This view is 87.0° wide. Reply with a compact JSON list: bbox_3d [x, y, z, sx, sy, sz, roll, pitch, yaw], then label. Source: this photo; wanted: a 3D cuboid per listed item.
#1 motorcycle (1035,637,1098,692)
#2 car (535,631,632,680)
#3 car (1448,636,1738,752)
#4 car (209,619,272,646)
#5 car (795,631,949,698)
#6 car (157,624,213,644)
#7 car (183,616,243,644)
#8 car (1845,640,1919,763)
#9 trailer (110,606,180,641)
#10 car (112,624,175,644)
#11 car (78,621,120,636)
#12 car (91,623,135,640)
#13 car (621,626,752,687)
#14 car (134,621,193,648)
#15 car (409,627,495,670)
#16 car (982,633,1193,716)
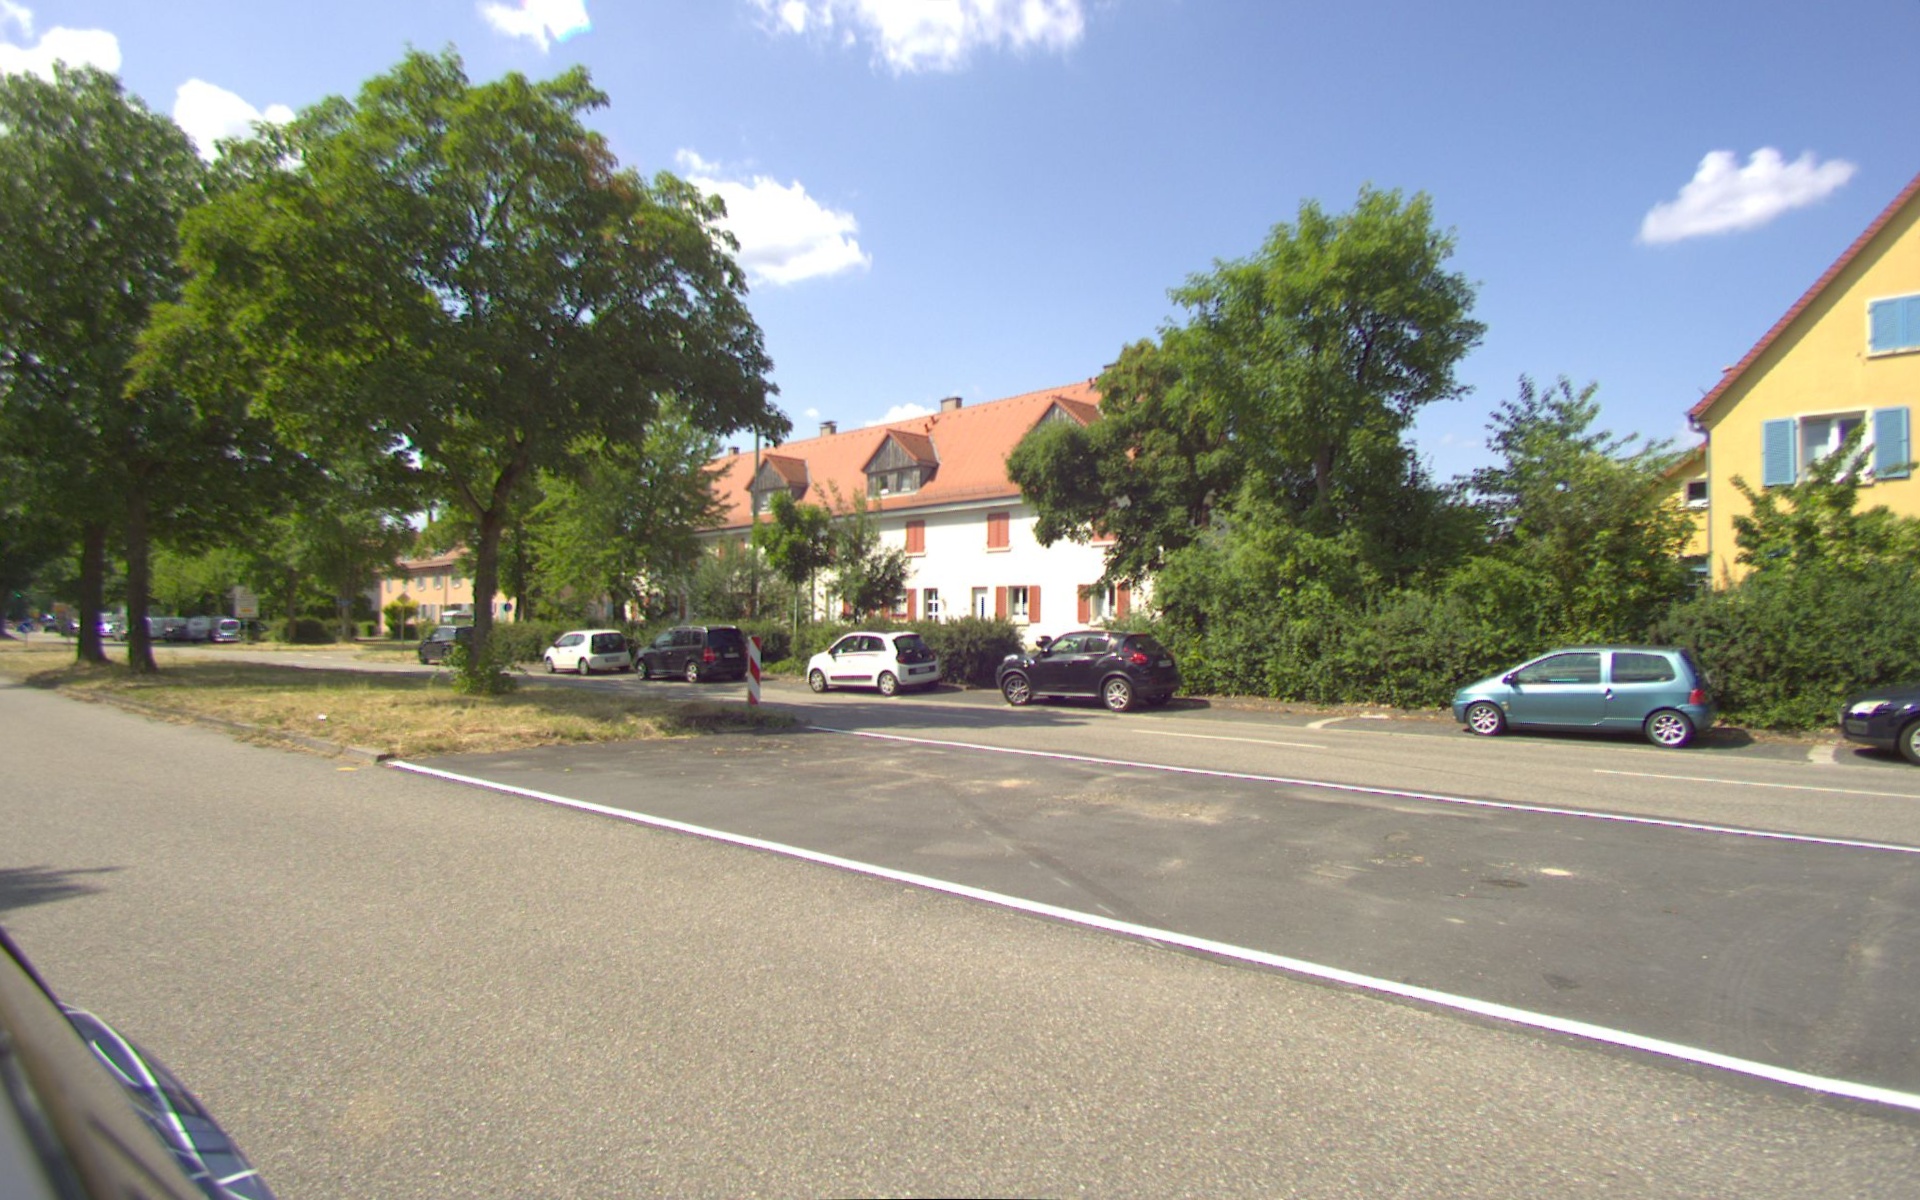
[{"bbox_3d":[2.819,1.663,26.590,0.747,1.306,1.845,-1,0,40],"label":"motorcycle"},{"bbox_3d":[-12.917,1.852,34.636,3.532,1.472,1.577,-1,0,40],"label":"car"},{"bbox_3d":[9.381,1.304,15.117,3.476,1.405,1.546,-1,0,41],"label":"car"},{"bbox_3d":[-51.095,2.289,71.968,1.779,1.874,4.001,-1,-1,-2],"label":"car"},{"bbox_3d":[-2.271,1.560,25.512,3.844,1.462,1.643,-1,0,40],"label":"car"},{"bbox_3d":[-62.885,2.745,82.180,1.550,1.408,4.002,-1,0,-2],"label":"car"},{"bbox_3d":[-57.925,2.314,78.540,1.779,2.029,4.002,-1,0,-2],"label":"car"},{"bbox_3d":[13.073,1.205,11.608,4.355,1.405,1.388,-1,0,41],"label":"car"},{"bbox_3d":[-77.100,2.139,95.867,2.782,3.132,5.766,-2,0,-11],"label":"trailer"},{"bbox_3d":[-69.514,2.857,86.233,1.799,1.521,3.945,-1,0,41],"label":"car"},{"bbox_3d":[-91.886,3.032,108.065,1.646,1.358,3.827,-1,0,-8],"label":"car"},{"bbox_3d":[-85.839,3.177,102.633,1.646,1.475,3.827,-1,0,-8],"label":"car"},{"bbox_3d":[-8.283,1.632,30.475,4.311,1.624,1.643,-1,0,40],"label":"car"},{"bbox_3d":[-65.469,2.844,83.269,1.779,2.029,4.002,-1,0,-2],"label":"car"},{"bbox_3d":[-20.987,1.965,41.732,3.997,1.563,1.749,-1,0,40],"label":"car"},{"bbox_3d":[2.570,1.460,20.969,4.100,1.492,1.643,-2,0,40],"label":"car"}]
